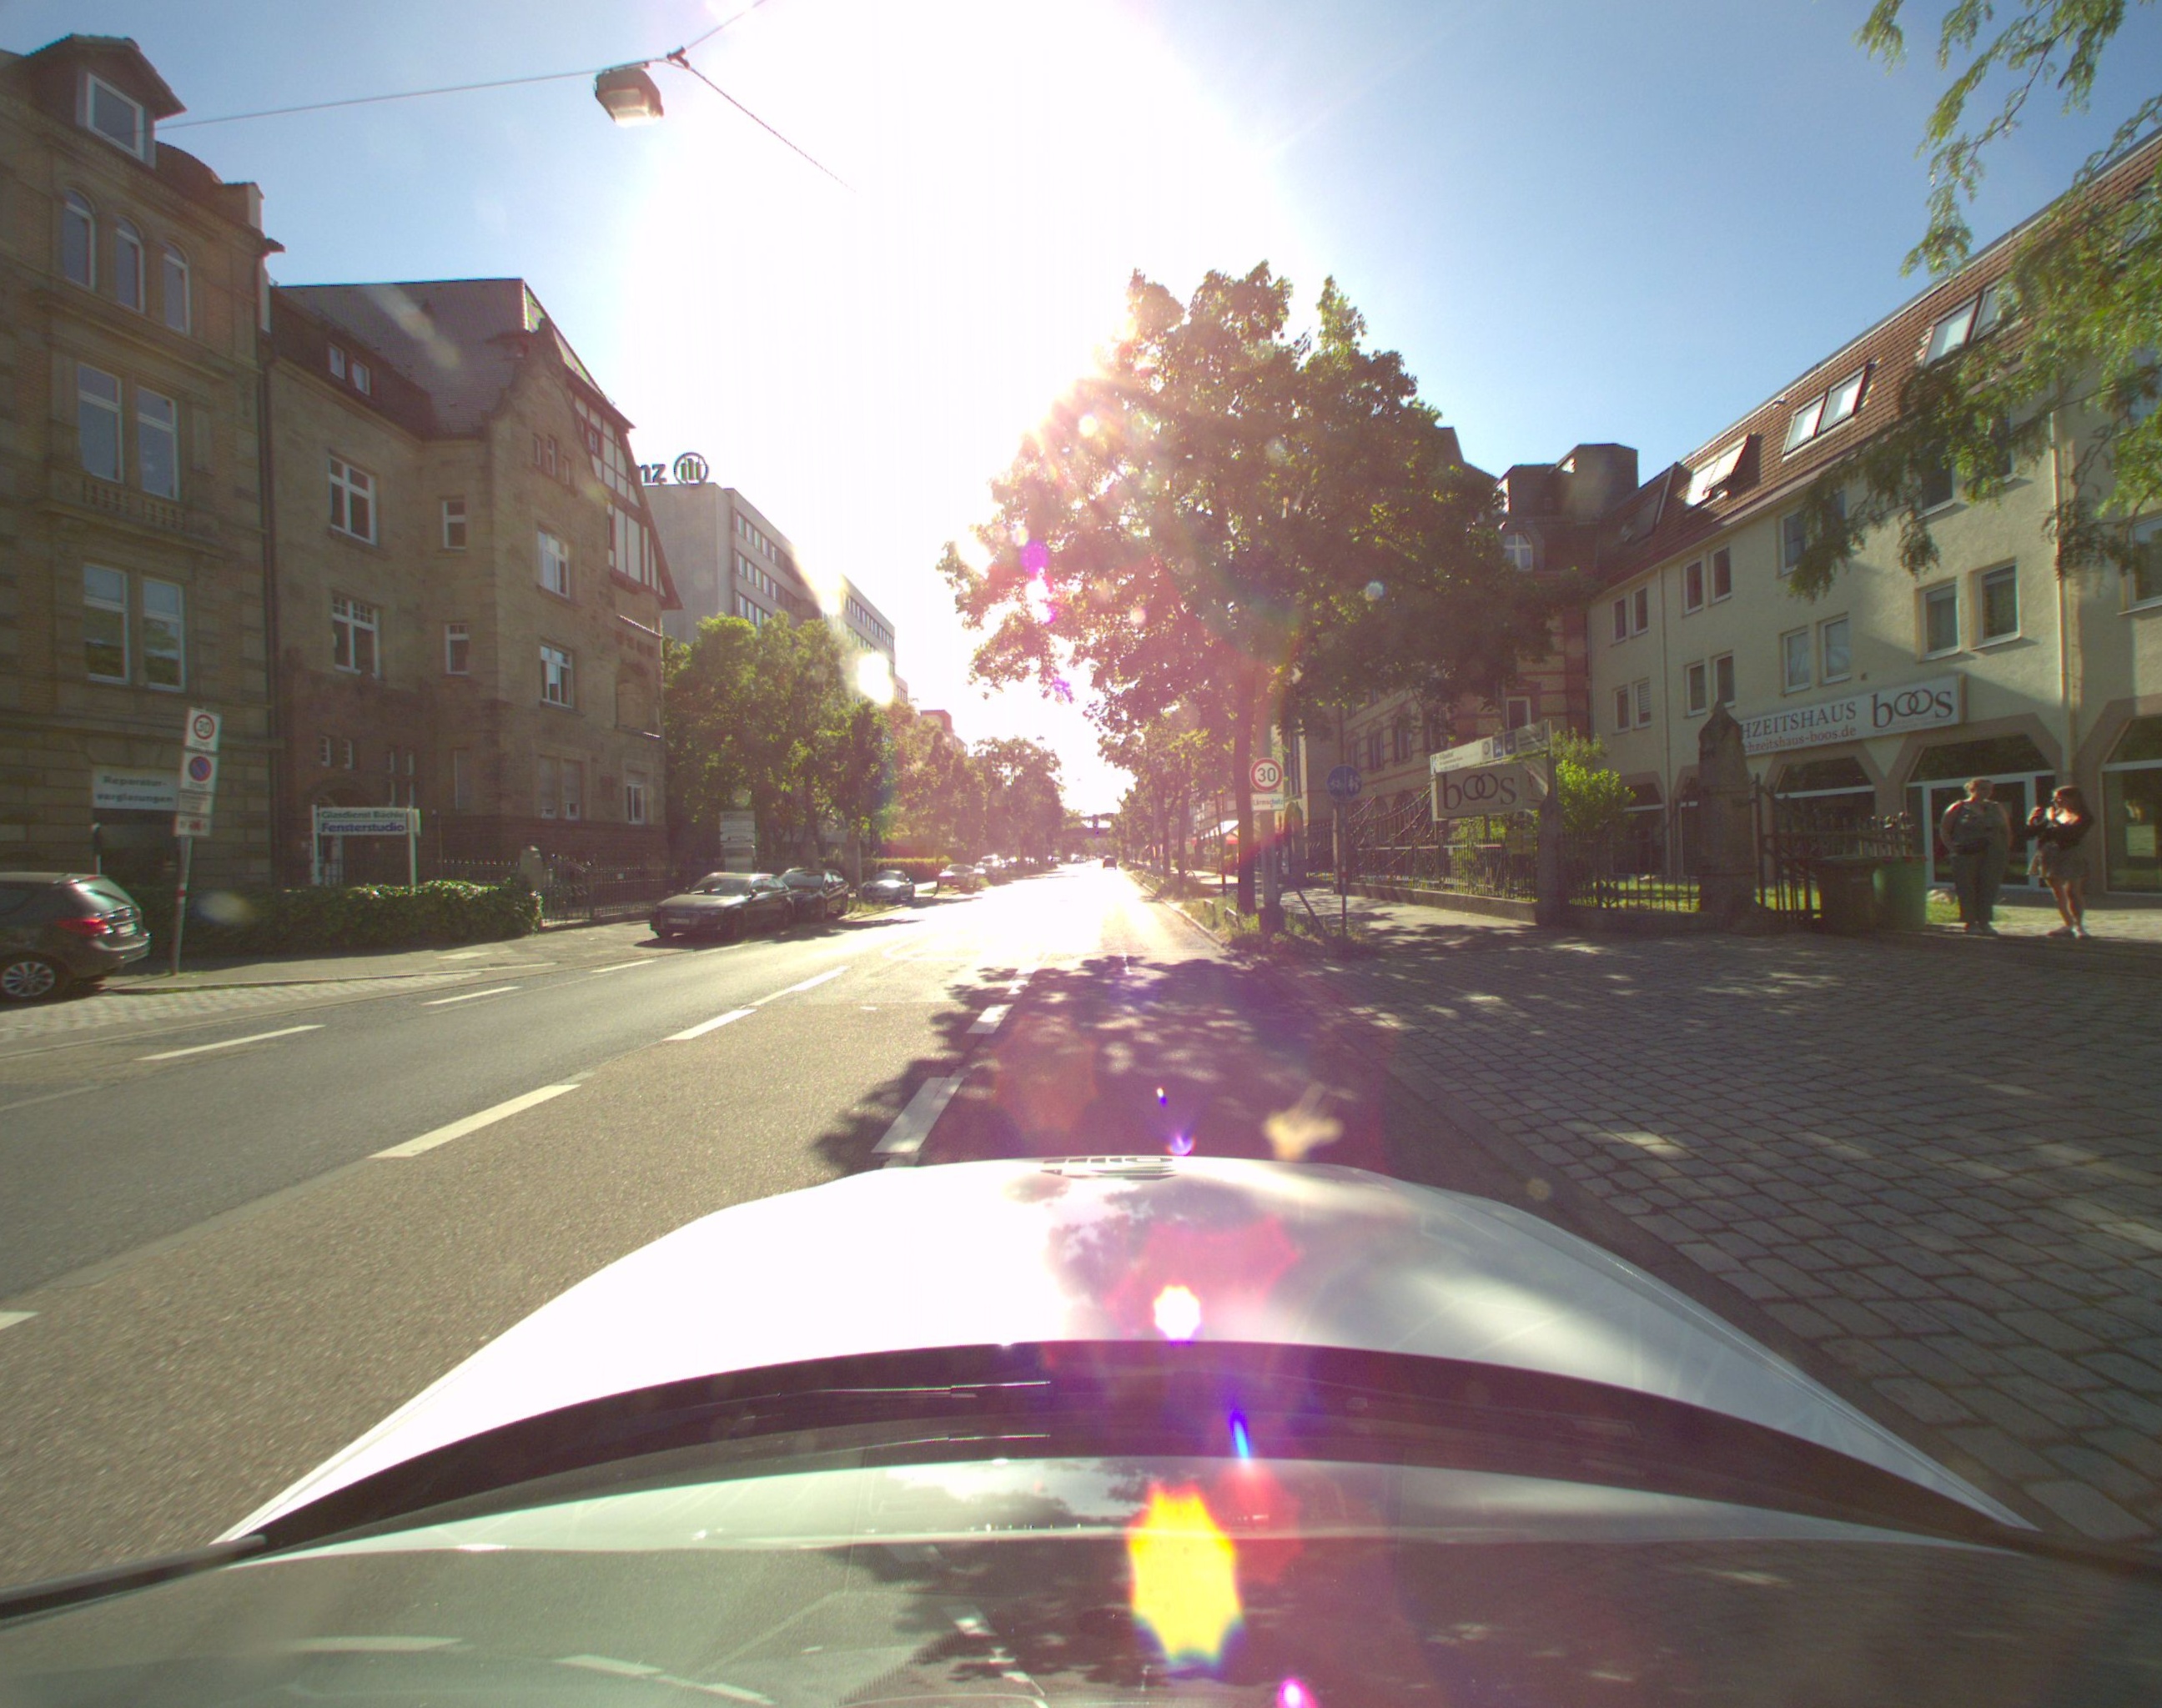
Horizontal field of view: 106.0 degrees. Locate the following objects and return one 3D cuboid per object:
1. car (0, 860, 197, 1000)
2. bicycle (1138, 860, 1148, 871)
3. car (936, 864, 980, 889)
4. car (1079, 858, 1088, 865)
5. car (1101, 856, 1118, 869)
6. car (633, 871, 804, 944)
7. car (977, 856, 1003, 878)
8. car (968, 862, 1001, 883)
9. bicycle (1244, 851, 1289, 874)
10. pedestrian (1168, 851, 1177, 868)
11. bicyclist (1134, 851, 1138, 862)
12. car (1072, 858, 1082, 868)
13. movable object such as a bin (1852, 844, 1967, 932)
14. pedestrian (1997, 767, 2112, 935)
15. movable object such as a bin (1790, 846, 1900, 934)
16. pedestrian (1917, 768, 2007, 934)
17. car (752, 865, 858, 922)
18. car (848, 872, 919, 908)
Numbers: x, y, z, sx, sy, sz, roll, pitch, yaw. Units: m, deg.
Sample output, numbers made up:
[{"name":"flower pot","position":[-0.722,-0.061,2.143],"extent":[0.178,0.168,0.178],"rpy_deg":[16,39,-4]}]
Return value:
[{"name":"car","position":[-14.849,0.948,10.567],"extent":[4.158,1.670,1.980],"rpy_deg":[1,1,-32]},{"name":"bicycle","position":[6.510,1.176,85.507],"extent":[0.586,1.066,2.032],"rpy_deg":[-1,0,18]},{"name":"car","position":[-7.352,1.344,49.078],"extent":[1.680,1.383,4.196],"rpy_deg":[-1,0,4]},{"name":"car","position":[0.576,1.721,188.288],"extent":[1.849,1.568,4.716],"rpy_deg":[-3,0,1]},{"name":"car","position":[3.496,1.033,100.387],"extent":[1.978,1.600,4.140],"rpy_deg":[-1,0,0]},{"name":"car","position":[-8.640,1.200,19.974],"extent":[1.848,1.427,4.723],"rpy_deg":[2,0,2]},{"name":"car","position":[-9.207,1.314,82.437],"extent":[1.975,2.076,5.194],"rpy_deg":[-3,0,-1]},{"name":"car","position":[-7.117,1.364,60.187],"extent":[1.705,1.459,4.075],"rpy_deg":[-1,0,3]},{"name":"bicycle","position":[9.837,0.466,43.223],"extent":[2.192,1.179,0.686],"rpy_deg":[-1,-1,-5]},{"name":"pedestrian","position":[9.093,0.543,80.761],"extent":[0.652,1.604,0.602],"rpy_deg":[-4,-1,-4]},{"name":"bicyclist","position":[9.179,0.416,136.048],"extent":[0.665,1.695,0.889],"rpy_deg":[-1,-1,1]},{"name":"car","position":[-0.765,1.740,154.349],"extent":[1.849,1.825,4.610],"rpy_deg":[-3,0,0]},{"name":"movable object such as a bin","position":[9.785,0.390,9.643],"extent":[0.622,0.965,0.667],"rpy_deg":[-4,0,1]},{"name":"pedestrian","position":[10.329,-0.031,8.654],"extent":[0.537,1.709,0.514],"rpy_deg":[-3,0,-6]},{"name":"movable object such as a bin","position":[9.071,0.411,9.696],"extent":[0.622,0.965,0.667],"rpy_deg":[-4,0,1]},{"name":"pedestrian","position":[9.817,-0.028,9.096],"extent":[0.536,1.778,0.536],"rpy_deg":[-3,-1,38]},{"name":"car","position":[-8.362,1.145,25.165],"extent":[1.851,1.494,4.700],"rpy_deg":[2,0,-3]},{"name":"car","position":[-7.804,1.387,32.526],"extent":[1.672,1.255,4.017],"rpy_deg":[-1,0,2]}]
